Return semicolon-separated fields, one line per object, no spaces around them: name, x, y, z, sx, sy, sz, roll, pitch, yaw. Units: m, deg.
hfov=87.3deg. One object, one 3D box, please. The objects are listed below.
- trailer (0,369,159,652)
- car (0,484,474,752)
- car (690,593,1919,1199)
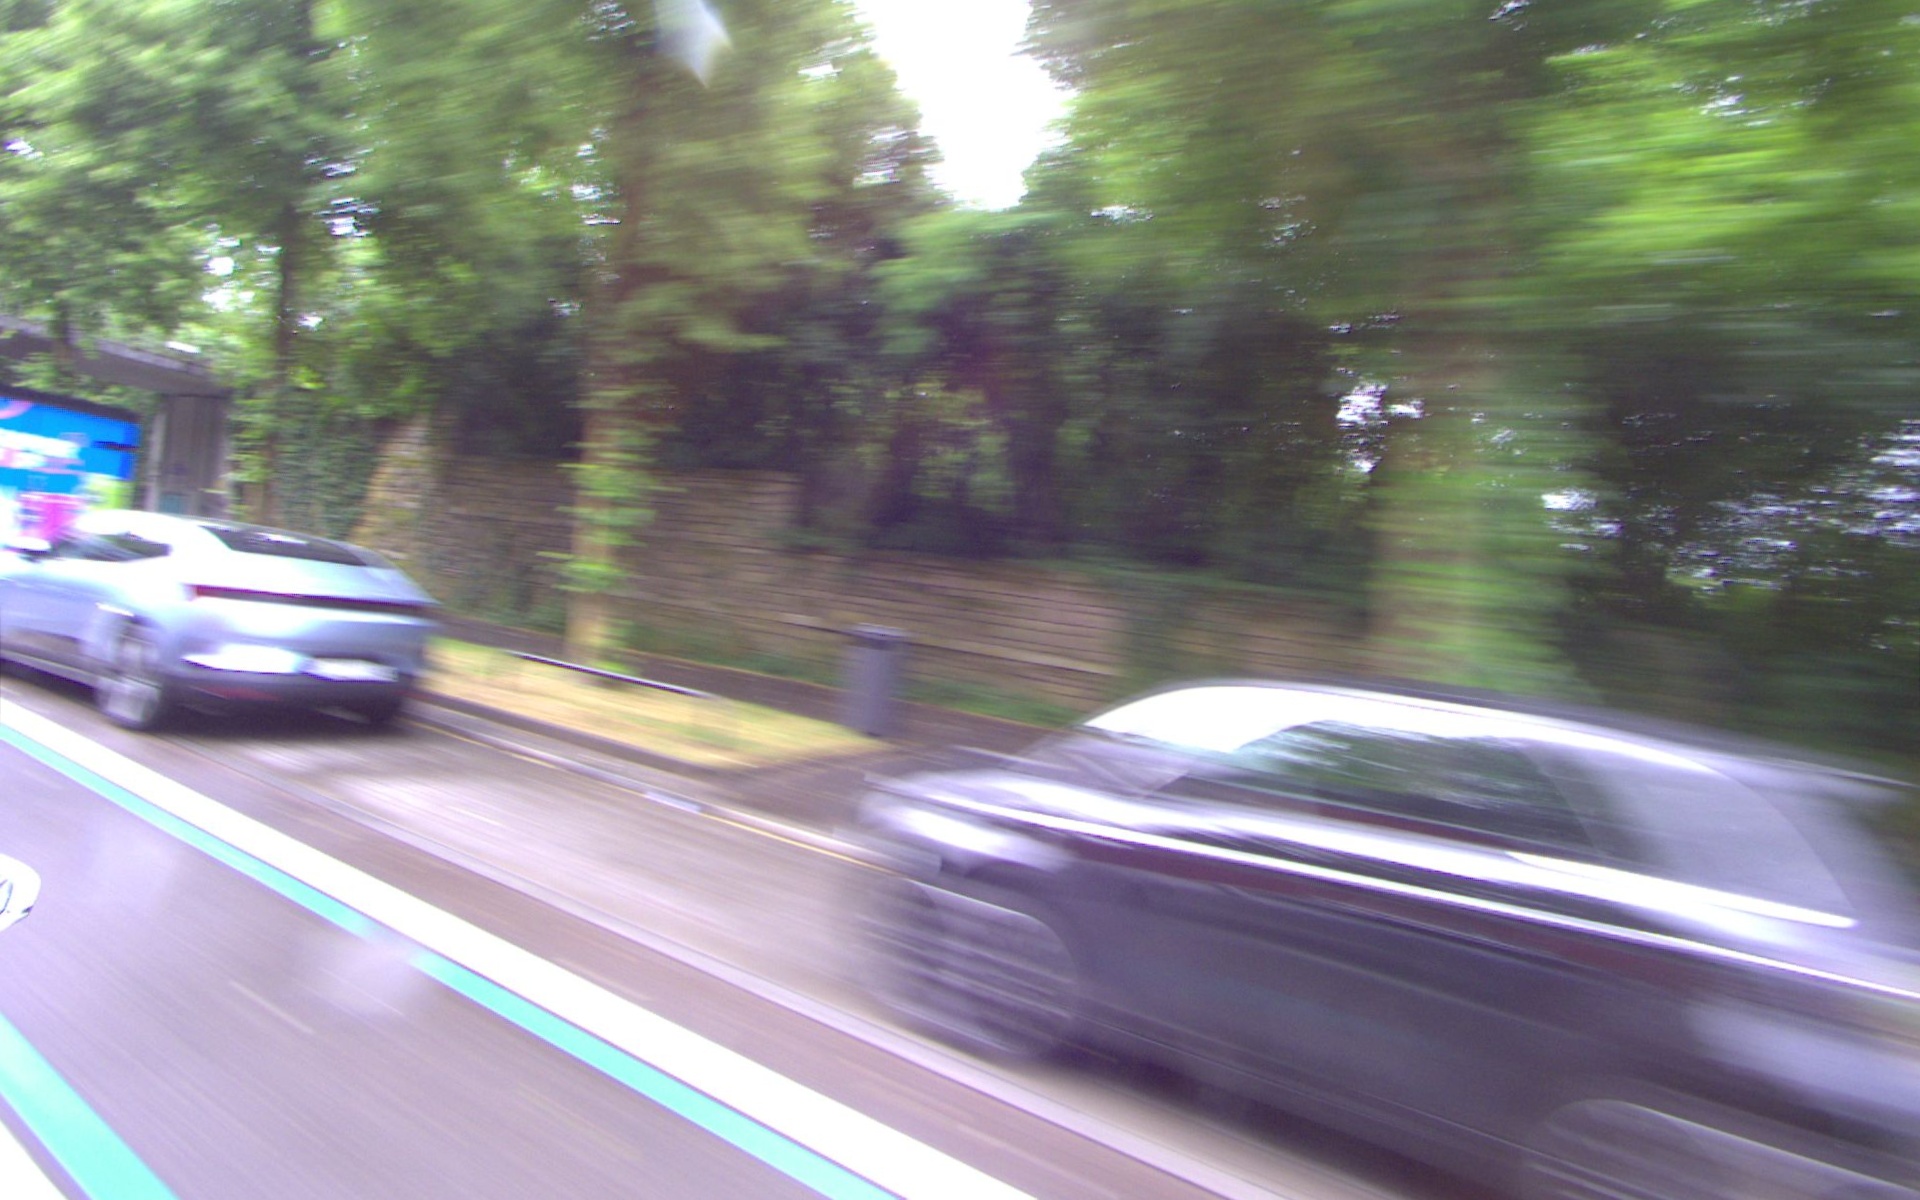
trailer;-11.232;-1.086;11.412;3.941;2.791;1.955;7;-1;33
car;-6.495;0.054;8.470;4.675;1.565;1.904;7;-2;30
car;1.306;1.022;3.819;4.496;1.521;1.828;7;-1;32
